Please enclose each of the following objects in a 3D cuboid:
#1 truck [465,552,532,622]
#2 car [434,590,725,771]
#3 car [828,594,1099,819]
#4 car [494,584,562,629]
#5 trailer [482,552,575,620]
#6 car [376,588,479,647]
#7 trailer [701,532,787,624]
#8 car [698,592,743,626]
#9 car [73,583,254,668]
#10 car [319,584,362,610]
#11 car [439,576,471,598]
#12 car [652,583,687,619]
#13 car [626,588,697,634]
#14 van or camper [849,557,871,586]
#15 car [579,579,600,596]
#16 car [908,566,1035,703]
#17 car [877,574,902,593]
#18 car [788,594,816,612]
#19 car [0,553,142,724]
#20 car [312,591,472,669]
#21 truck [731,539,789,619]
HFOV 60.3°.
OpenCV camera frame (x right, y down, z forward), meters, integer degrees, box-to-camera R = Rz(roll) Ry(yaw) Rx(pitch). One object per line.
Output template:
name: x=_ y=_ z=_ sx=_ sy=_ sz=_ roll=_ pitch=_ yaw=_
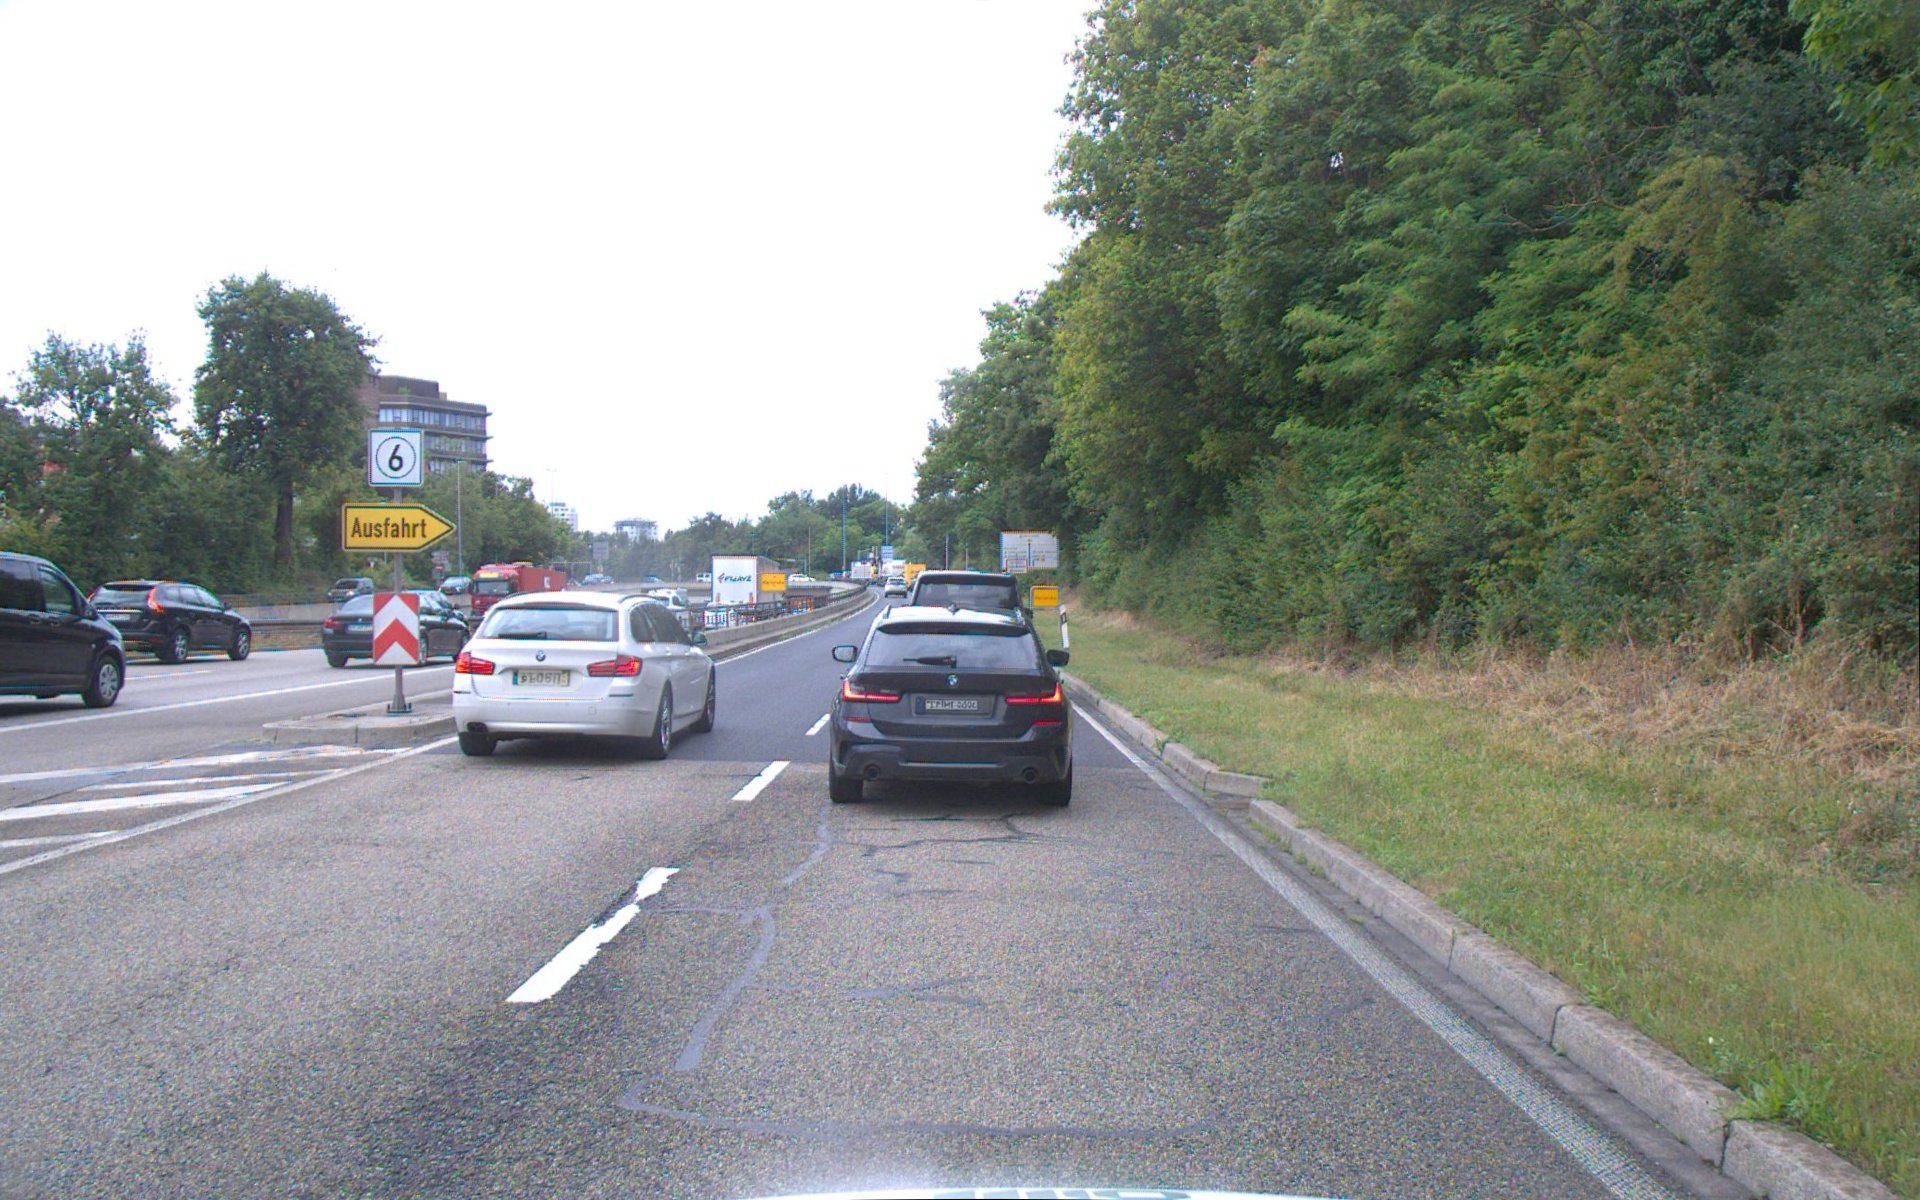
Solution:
truck: x=-28.053 y=-0.765 z=100.740 sx=2.706 sy=4.136 sz=4.906 roll=0 pitch=0 yaw=-1
car: x=-3.529 y=0.672 z=16.283 sx=1.821 sy=1.489 sz=4.883 roll=1 pitch=0 yaw=-1
car: x=-0.042 y=0.716 z=13.175 sx=1.809 sy=1.492 sz=3.998 roll=1 pitch=0 yaw=-2
car: x=-16.802 y=0.237 z=64.504 sx=1.653 sy=1.636 sz=4.007 roll=2 pitch=0 yaw=-2
trailer: x=-28.135 y=-0.876 z=108.534 sx=2.708 sy=4.135 sz=13.351 roll=0 pitch=0 yaw=0
car: x=-16.123 y=0.511 z=50.289 sx=1.852 sy=1.711 sz=4.305 roll=0 pitch=0 yaw=-2
trailer: x=-12.256 y=-1.183 z=95.278 sx=3.069 sy=4.807 sz=14.555 roll=1 pitch=0 yaw=-1
car: x=-11.475 y=0.411 z=79.514 sx=1.733 sy=1.577 sz=3.491 roll=0 pitch=0 yaw=-2
car: x=-16.554 y=0.499 z=34.630 sx=1.716 sy=1.664 sz=4.266 roll=1 pitch=0 yaw=0
car: x=-37.693 y=-0.185 z=100.702 sx=1.408 sy=1.601 sz=3.243 roll=0 pitch=0 yaw=-1
car: x=-37.580 y=-0.987 z=123.157 sx=1.408 sy=1.614 sz=3.243 roll=0 pitch=0 yaw=-1
car: x=-17.064 y=0.051 z=97.233 sx=1.414 sy=2.080 sz=3.680 roll=0 pitch=0 yaw=0
car: x=-11.341 y=0.394 z=63.147 sx=1.906 sy=1.721 sz=4.506 roll=0 pitch=0 yaw=0
van or camper: x=-9.823 y=-2.787 z=163.146 sx=1.953 sy=2.870 sz=3.999 roll=0 pitch=0 yaw=-1
car: x=-41.506 y=-1.405 z=185.366 sx=1.622 sy=1.868 sz=3.622 roll=0 pitch=0 yaw=0
car: x=0.152 y=0.485 z=25.286 sx=1.759 sy=1.905 sz=4.000 roll=1 pitch=0 yaw=0
car: x=-5.965 y=-1.403 z=140.874 sx=1.891 sy=1.624 sz=3.877 roll=0 pitch=0 yaw=1
car: x=-18.783 y=0.379 z=196.275 sx=3.143 sy=2.063 sz=5.067 roll=0 pitch=0 yaw=-8
car: x=-11.577 y=0.413 z=19.131 sx=1.953 sy=1.883 sz=4.810 roll=1 pitch=0 yaw=-2
car: x=-11.636 y=0.576 z=34.209 sx=1.677 sy=1.482 sz=4.666 roll=1 pitch=0 yaw=0
truck: x=-12.339 y=-1.291 z=102.577 sx=3.021 sy=4.780 sz=4.231 roll=1 pitch=0 yaw=-1
